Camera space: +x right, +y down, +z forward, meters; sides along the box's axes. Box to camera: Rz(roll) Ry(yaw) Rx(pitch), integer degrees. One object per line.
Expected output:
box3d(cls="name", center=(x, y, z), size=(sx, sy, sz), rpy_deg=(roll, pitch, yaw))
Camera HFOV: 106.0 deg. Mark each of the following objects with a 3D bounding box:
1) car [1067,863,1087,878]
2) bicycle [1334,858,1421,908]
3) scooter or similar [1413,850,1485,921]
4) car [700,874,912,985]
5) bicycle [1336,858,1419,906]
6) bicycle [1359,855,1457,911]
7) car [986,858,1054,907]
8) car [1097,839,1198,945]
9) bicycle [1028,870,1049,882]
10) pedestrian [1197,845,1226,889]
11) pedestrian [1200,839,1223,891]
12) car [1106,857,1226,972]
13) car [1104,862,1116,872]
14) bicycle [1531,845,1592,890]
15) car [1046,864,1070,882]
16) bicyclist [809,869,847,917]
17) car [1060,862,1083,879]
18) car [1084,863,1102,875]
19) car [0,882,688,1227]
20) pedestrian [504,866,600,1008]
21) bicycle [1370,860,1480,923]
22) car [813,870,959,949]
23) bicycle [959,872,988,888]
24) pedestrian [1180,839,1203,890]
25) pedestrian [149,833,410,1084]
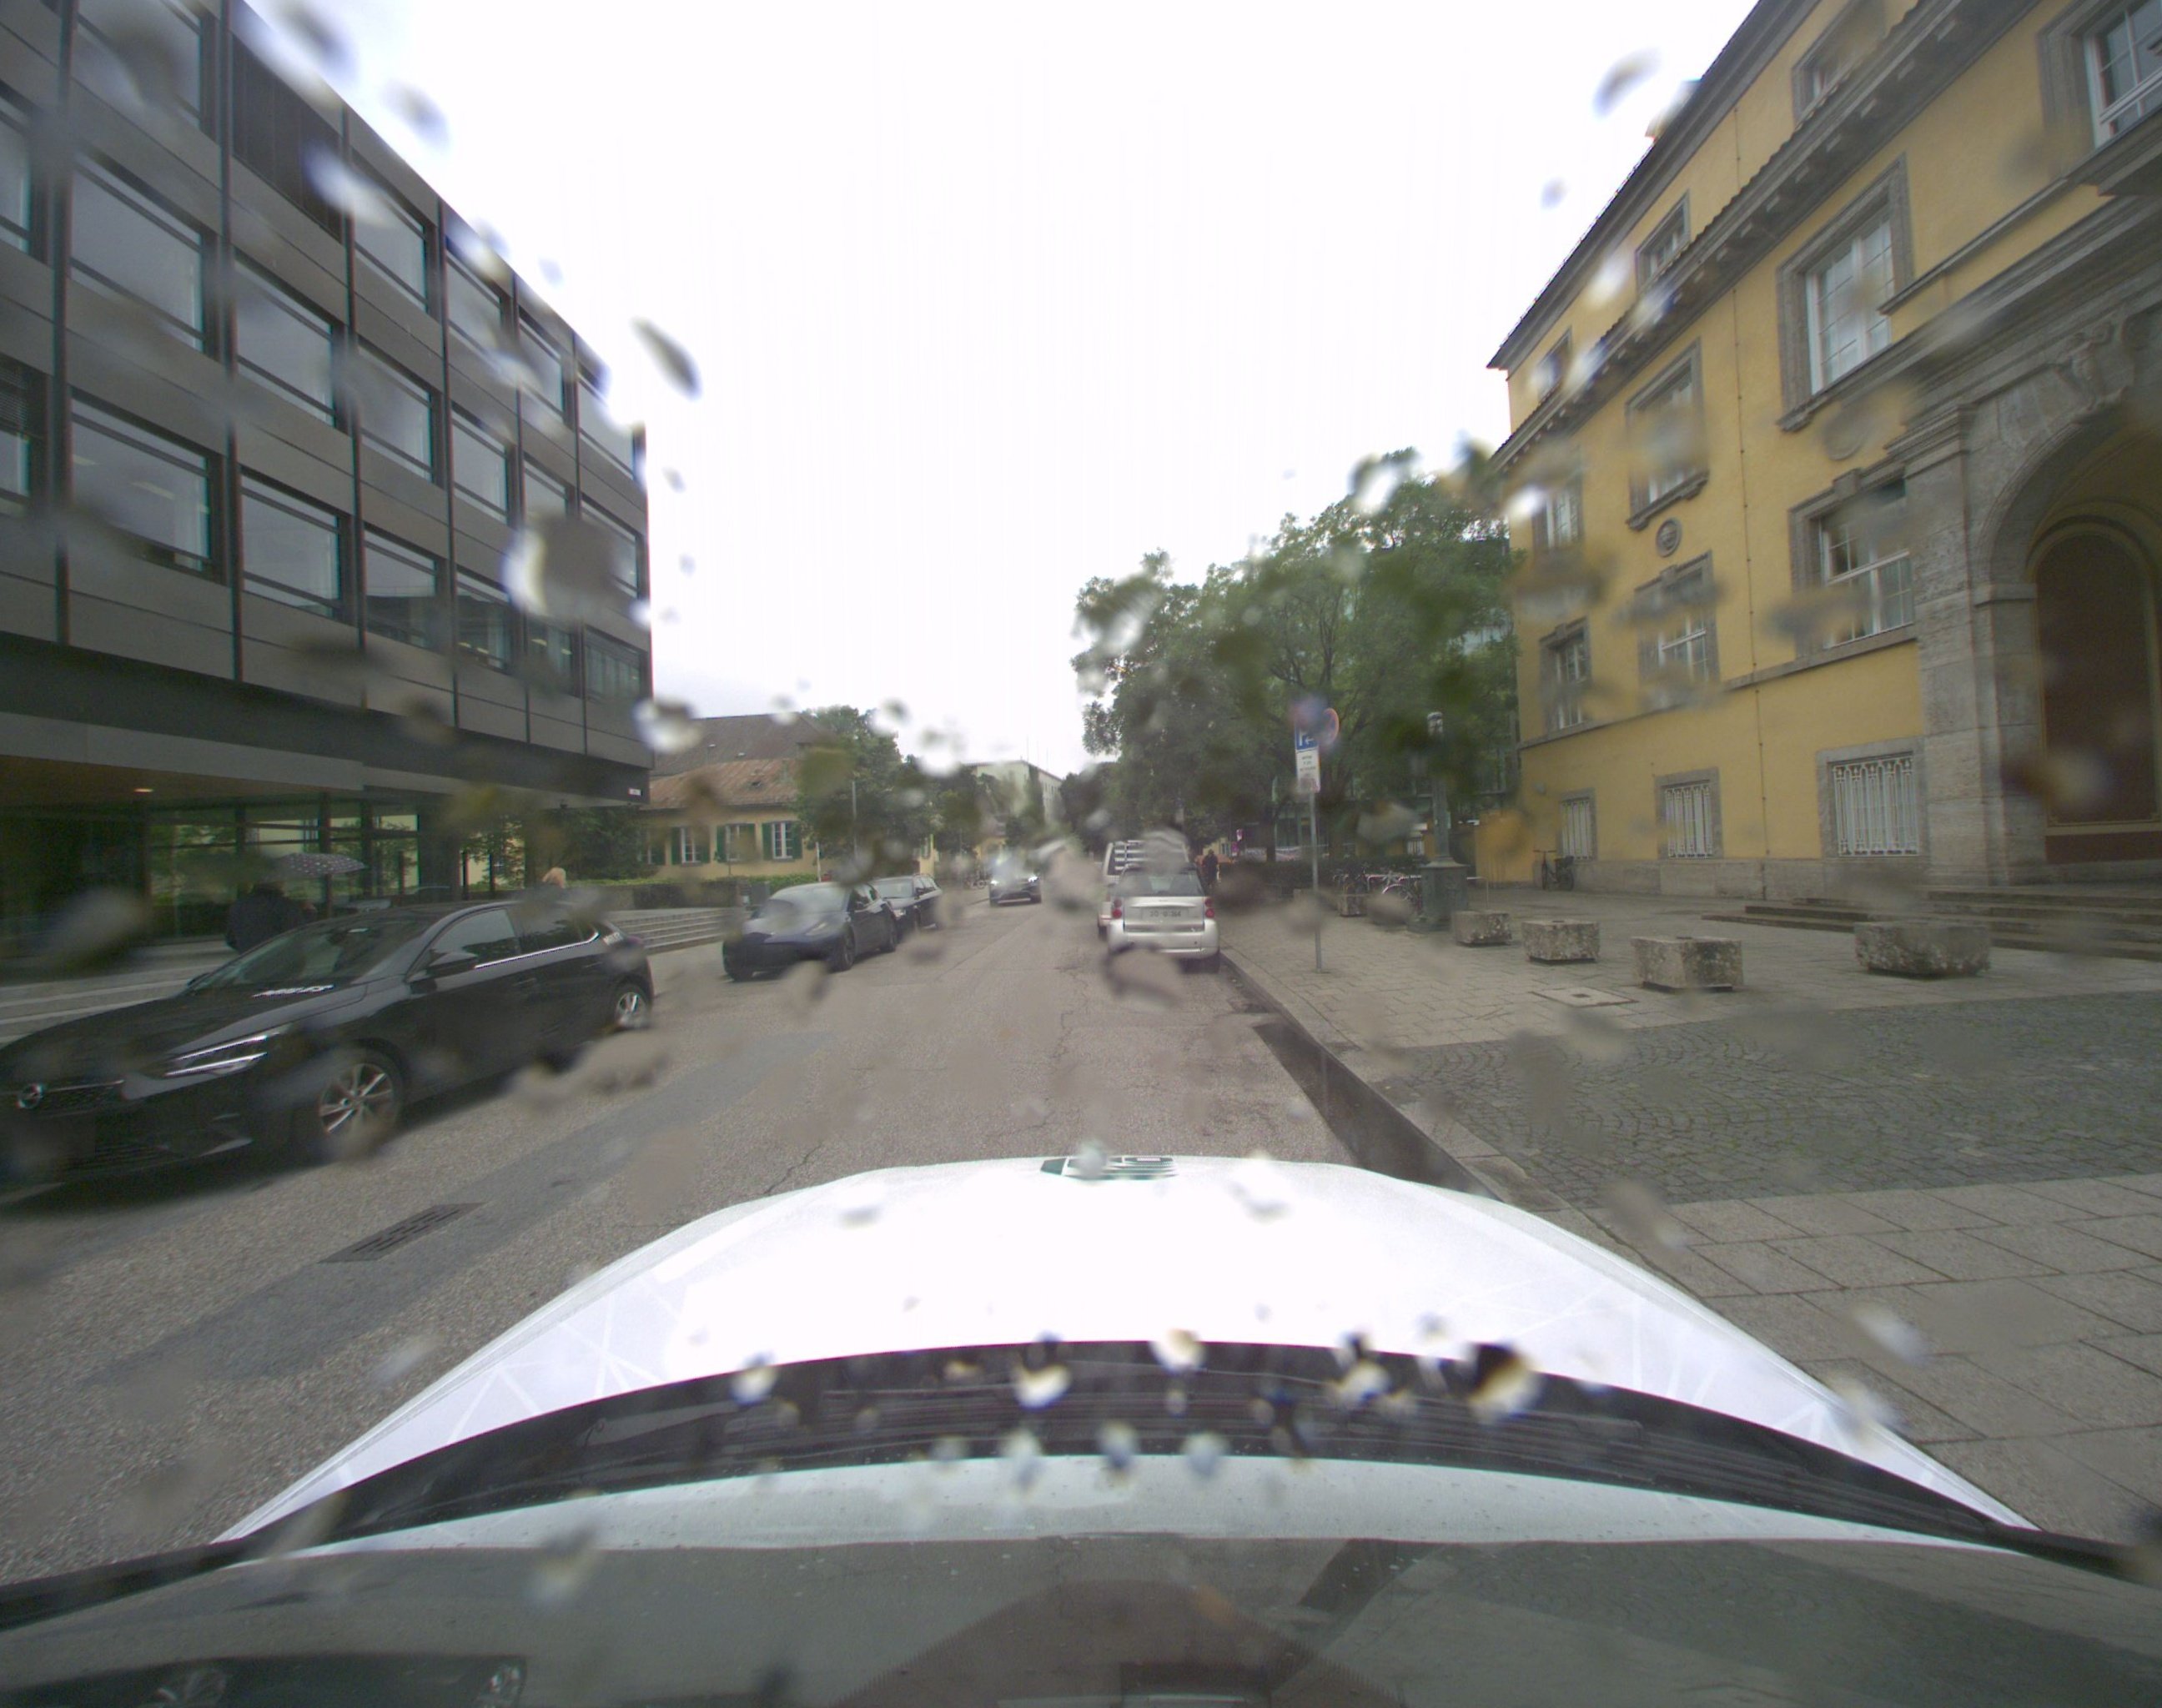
box3d(cls="car", center=(-0.463, 1.945, 93.111), size=(1.985, 1.603, 4.003), rpy_deg=(-2, -2, 4))
box3d(cls="bicycle", center=(7.425, 0.730, 20.441), size=(1.923, 1.113, 0.472), rpy_deg=(-4, -1, 4))
box3d(cls="scooter or similar", center=(6.728, 0.583, 14.903), size=(0.541, 1.222, 1.000), rpy_deg=(-3, -1, -43))
box3d(cls="car", center=(-4.508, 1.163, 14.293), size=(1.916, 1.439, 4.917), rpy_deg=(-4, -1, 0))
box3d(cls="bicycle", center=(7.722, 0.718, 21.224), size=(1.923, 1.113, 0.472), rpy_deg=(-4, -1, 3))
box3d(cls="bicycle", center=(7.273, 0.633, 18.147), size=(1.923, 1.113, 0.472), rpy_deg=(-4, -1, 4))
box3d(cls="car", center=(-2.342, 1.067, 32.438), size=(2.016, 1.689, 4.681), rpy_deg=(-3, -1, 3))
box3d(cls="car", center=(1.279, 0.720, 17.590), size=(1.838, 1.933, 5.273), rpy_deg=(0, -1, 1))
box3d(cls="bicycle", center=(-3.700, 1.938, 71.003), size=(0.615, 1.004, 2.154), rpy_deg=(0, 0, 35))
box3d(cls="pedestrian", center=(5.818, 0.566, 36.222), size=(0.735, 1.907, 1.062), rpy_deg=(-4, -1, 37))
box3d(cls="pedestrian", center=(5.607, 0.469, 35.015), size=(0.740, 2.135, 1.056), rpy_deg=(-3, -1, 1))
box3d(cls="car", center=(1.207, 0.832, 12.485), size=(1.599, 1.546, 2.935), rpy_deg=(0, -1, 2))
box3d(cls="car", center=(5.045, 2.231, 142.185), size=(1.802, 1.683, 4.005), rpy_deg=(-3, -1, 4))
box3d(cls="bicycle", center=(13.138, 0.361, 22.326), size=(0.540, 1.154, 1.902), rpy_deg=(-3, 0, 1))
box3d(cls="car", center=(-2.115, 1.771, 75.474), size=(1.725, 1.581, 3.793), rpy_deg=(0, -1, 5))
box3d(cls="bicyclist", center=(-8.214, 1.267, 26.448), size=(1.096, 1.498, 0.669), rpy_deg=(-2, -3, -22))
box3d(cls="car", center=(-0.960, 1.764, 88.042), size=(1.984, 1.648, 4.661), rpy_deg=(-2, -1, 5))
box3d(cls="car", center=(1.681, 2.079, 110.914), size=(1.983, 1.486, 4.007), rpy_deg=(-3, -1, 7))
box3d(cls="car", center=(-4.948, 1.058, 6.000), size=(1.732, 1.461, 4.240), rpy_deg=(-5, -1, 3))
box3d(cls="pedestrian", center=(-6.991, 1.057, 10.815), size=(0.754, 1.749, 0.948), rpy_deg=(-2, -1, -14))
box3d(cls="bicycle", center=(6.820, 0.741, 16.191), size=(1.926, 1.113, 0.471), rpy_deg=(-4, -1, -1))
box3d(cls="car", center=(-4.470, 1.215, 19.557), size=(1.985, 1.491, 4.887), rpy_deg=(-4, -1, 3))
box3d(cls="bicycle", center=(-7.418, 1.786, 56.212), size=(1.921, 1.099, 0.615), rpy_deg=(0, -1, 5))
box3d(cls="pedestrian", center=(4.776, 0.462, 35.223), size=(0.740, 2.135, 1.056), rpy_deg=(-3, -1, 1))
box3d(cls="pedestrian", center=(-7.160, 0.873, 7.372), size=(1.131, 2.055, 1.221), rpy_deg=(-1, -1, 1))
